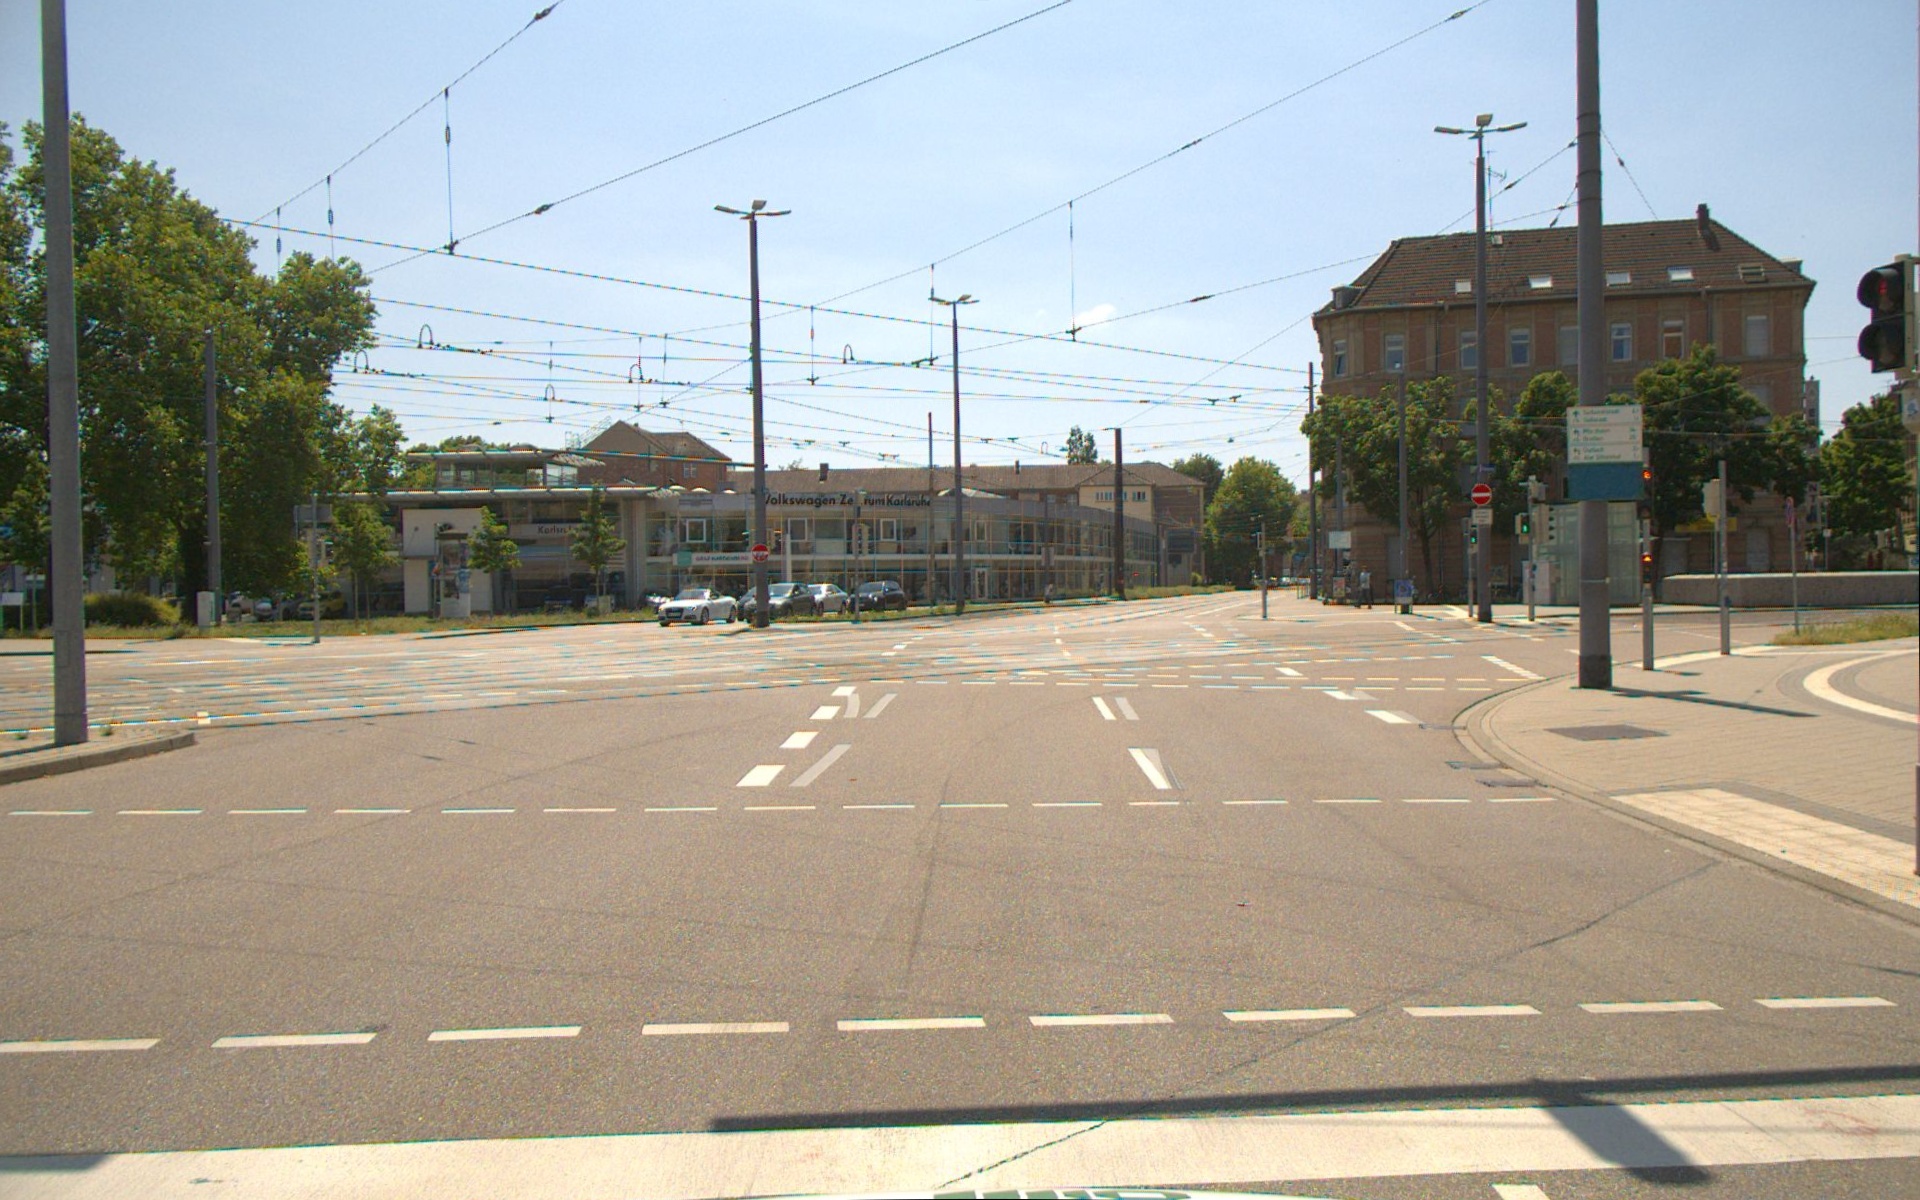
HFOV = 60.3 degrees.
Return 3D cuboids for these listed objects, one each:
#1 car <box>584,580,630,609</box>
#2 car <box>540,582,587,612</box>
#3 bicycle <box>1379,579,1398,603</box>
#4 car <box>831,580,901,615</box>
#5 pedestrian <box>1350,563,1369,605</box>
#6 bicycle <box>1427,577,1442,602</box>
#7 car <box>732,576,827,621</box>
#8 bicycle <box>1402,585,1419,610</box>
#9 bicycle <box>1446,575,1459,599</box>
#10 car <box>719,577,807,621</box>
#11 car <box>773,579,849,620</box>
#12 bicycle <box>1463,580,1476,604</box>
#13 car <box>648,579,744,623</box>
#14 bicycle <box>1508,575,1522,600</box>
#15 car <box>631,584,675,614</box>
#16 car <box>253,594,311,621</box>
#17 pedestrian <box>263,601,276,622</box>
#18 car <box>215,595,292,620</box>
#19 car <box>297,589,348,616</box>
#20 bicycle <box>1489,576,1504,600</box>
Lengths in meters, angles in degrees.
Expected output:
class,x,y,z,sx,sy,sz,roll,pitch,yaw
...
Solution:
class,x,y,z,sx,sy,sz,roll,pitch,yaw
car,-21.266,-0.313,99.721,1.881,1.737,4.000,1,0,0
car,-23.859,-0.157,99.669,1.881,1.737,4.000,1,0,0
bicycle,20.509,-0.450,79.190,0.539,1.139,1.821,-1,0,3
car,-4.714,-0.157,83.892,2.034,1.712,4.850,-1,1,16
pedestrian,16.741,-0.670,69.374,0.455,1.738,0.635,-1,0,-25
bicycle,22.695,-0.506,79.114,0.539,1.139,1.822,-1,0,12
car,-6.972,-0.080,64.381,1.951,1.666,4.850,-1,1,16
bicycle,21.699,-0.113,79.688,0.433,1.166,2.095,1,0,6
bicycle,23.471,-0.629,78.869,0.539,1.139,1.822,-1,1,15
car,-8.315,-0.071,70.189,1.951,1.730,4.850,-1,1,16
car,-6.810,-0.036,76.155,1.951,1.770,4.546,-1,1,16
bicycle,24.249,-0.378,78.736,0.539,1.139,1.891,-1,1,15
car,-10.154,0.009,64.021,2.032,1.607,4.850,-1,1,13
bicycle,26.548,-0.609,79.127,0.539,1.139,1.931,-1,1,15
car,-18.546,-0.063,100.187,1.881,1.737,4.000,1,0,0
car,-41.409,0.423,101.098,1.731,1.536,4.327,-1,1,0
pedestrian,-40.530,0.653,97.090,0.502,1.225,0.446,-1,0,5
car,-45.476,0.470,106.522,4.279,1.536,1.750,-1,1,-36
car,-38.733,0.123,100.612,1.732,1.536,4.322,-1,1,-5
bicycle,25.653,-0.593,79.107,0.539,1.139,1.872,-1,0,15
